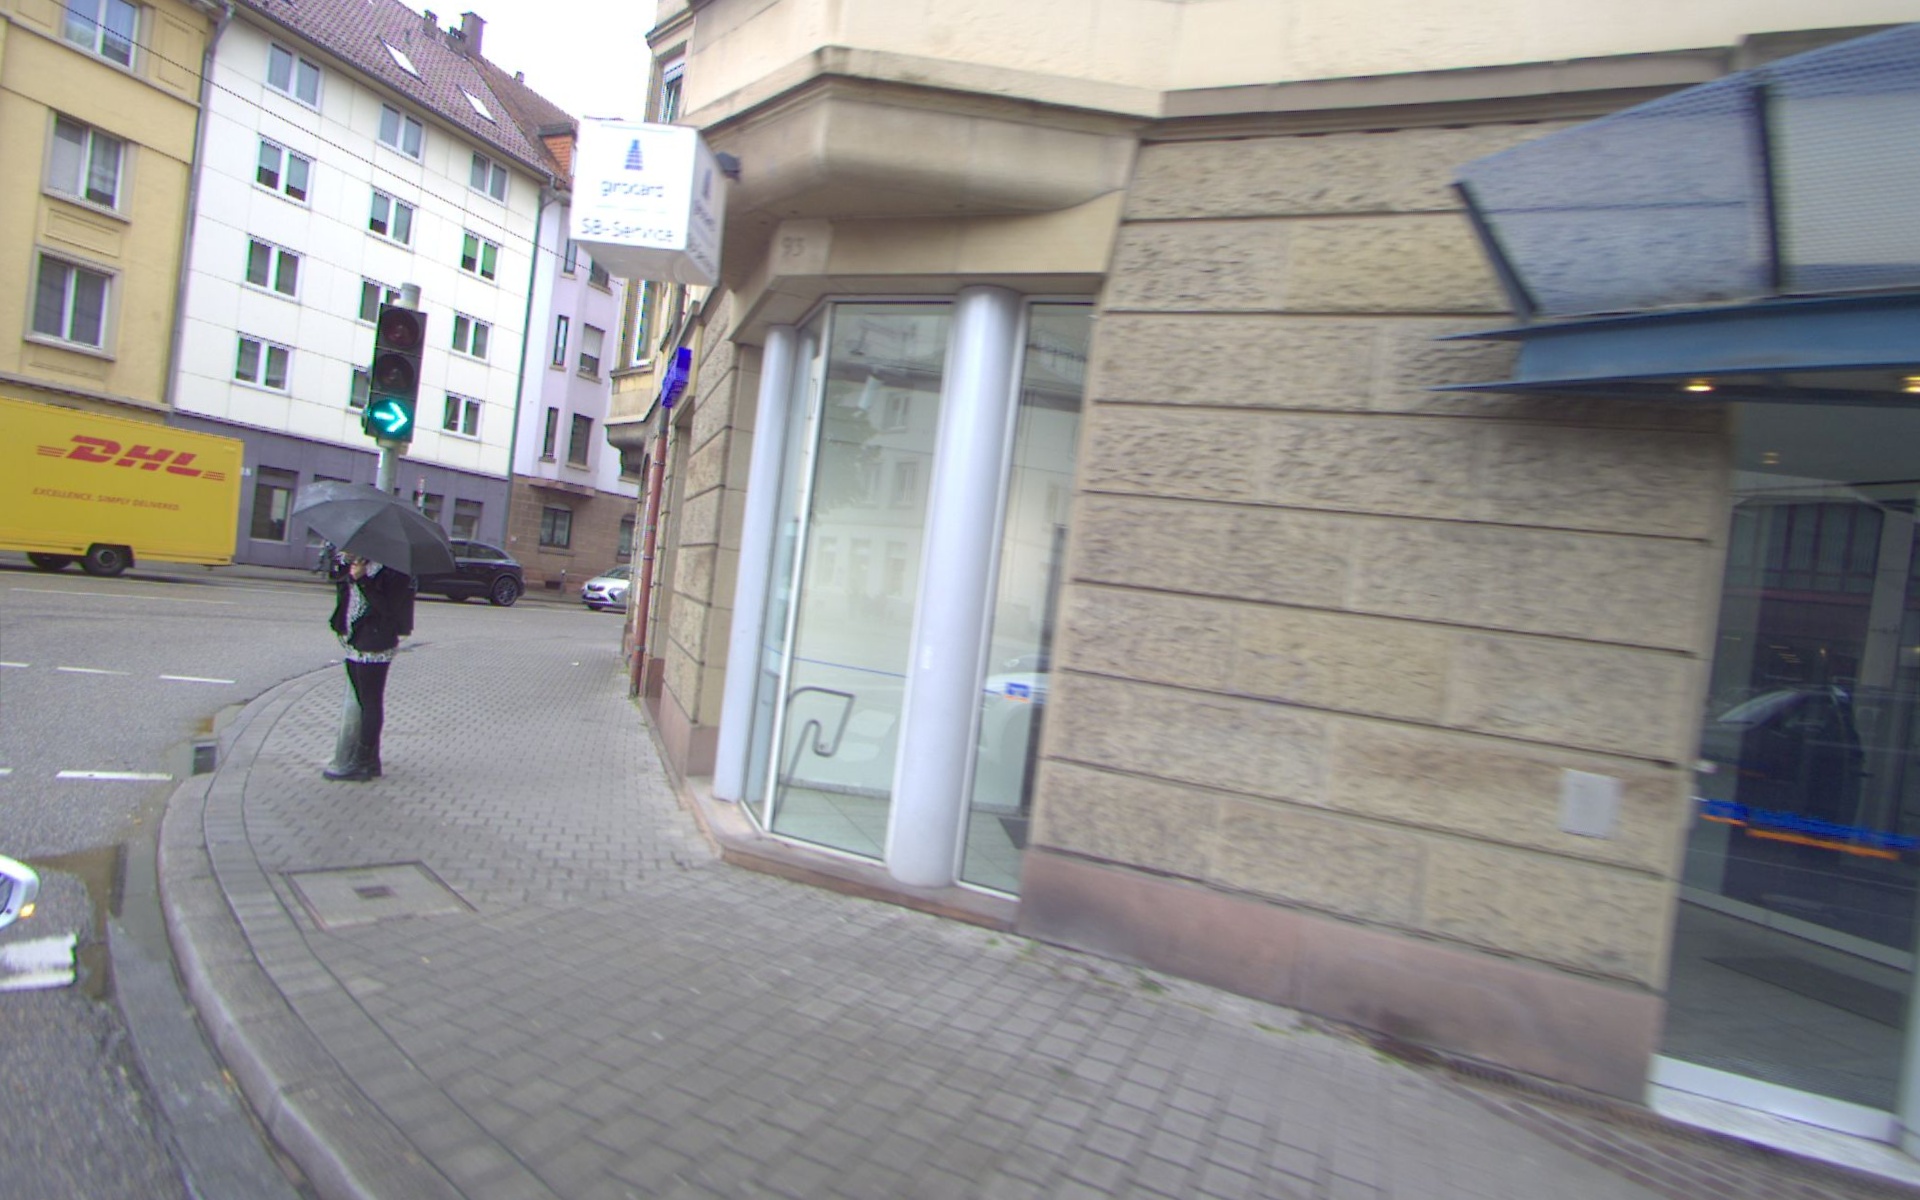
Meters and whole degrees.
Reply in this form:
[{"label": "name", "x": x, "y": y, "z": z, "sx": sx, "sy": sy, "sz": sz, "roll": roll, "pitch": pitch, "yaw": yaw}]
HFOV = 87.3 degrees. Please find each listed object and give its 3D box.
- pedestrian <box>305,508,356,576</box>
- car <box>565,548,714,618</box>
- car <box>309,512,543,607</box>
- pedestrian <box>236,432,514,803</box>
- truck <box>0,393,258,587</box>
[{"label": "pedestrian", "x": -18.052, "y": -1.649, "z": 28.863, "sx": 0.749, "sy": 1.814, "sz": 0.792, "roll": 7, "pitch": 1, "yaw": 23}, {"label": "car", "x": -10.111, "y": -0.492, "z": 32.091, "sx": 1.915, "sy": 1.705, "sz": 4.409, "roll": 8, "pitch": 0, "yaw": 24}, {"label": "car", "x": -13.028, "y": -0.916, "z": 24.934, "sx": 1.964, "sy": 1.705, "sz": 4.824, "roll": 8, "pitch": 0, "yaw": 23}, {"label": "pedestrian", "x": -3.456, "y": 0.097, "z": 5.937, "sx": 1.054, "sy": 1.928, "sz": 1.012, "roll": 6, "pitch": 2, "yaw": -44}, {"label": "truck", "x": -16.472, "y": -2.009, "z": 17.228, "sx": 2.045, "sy": 2.886, "sz": 7.111, "roll": 7, "pitch": 0, "yaw": 23}]
